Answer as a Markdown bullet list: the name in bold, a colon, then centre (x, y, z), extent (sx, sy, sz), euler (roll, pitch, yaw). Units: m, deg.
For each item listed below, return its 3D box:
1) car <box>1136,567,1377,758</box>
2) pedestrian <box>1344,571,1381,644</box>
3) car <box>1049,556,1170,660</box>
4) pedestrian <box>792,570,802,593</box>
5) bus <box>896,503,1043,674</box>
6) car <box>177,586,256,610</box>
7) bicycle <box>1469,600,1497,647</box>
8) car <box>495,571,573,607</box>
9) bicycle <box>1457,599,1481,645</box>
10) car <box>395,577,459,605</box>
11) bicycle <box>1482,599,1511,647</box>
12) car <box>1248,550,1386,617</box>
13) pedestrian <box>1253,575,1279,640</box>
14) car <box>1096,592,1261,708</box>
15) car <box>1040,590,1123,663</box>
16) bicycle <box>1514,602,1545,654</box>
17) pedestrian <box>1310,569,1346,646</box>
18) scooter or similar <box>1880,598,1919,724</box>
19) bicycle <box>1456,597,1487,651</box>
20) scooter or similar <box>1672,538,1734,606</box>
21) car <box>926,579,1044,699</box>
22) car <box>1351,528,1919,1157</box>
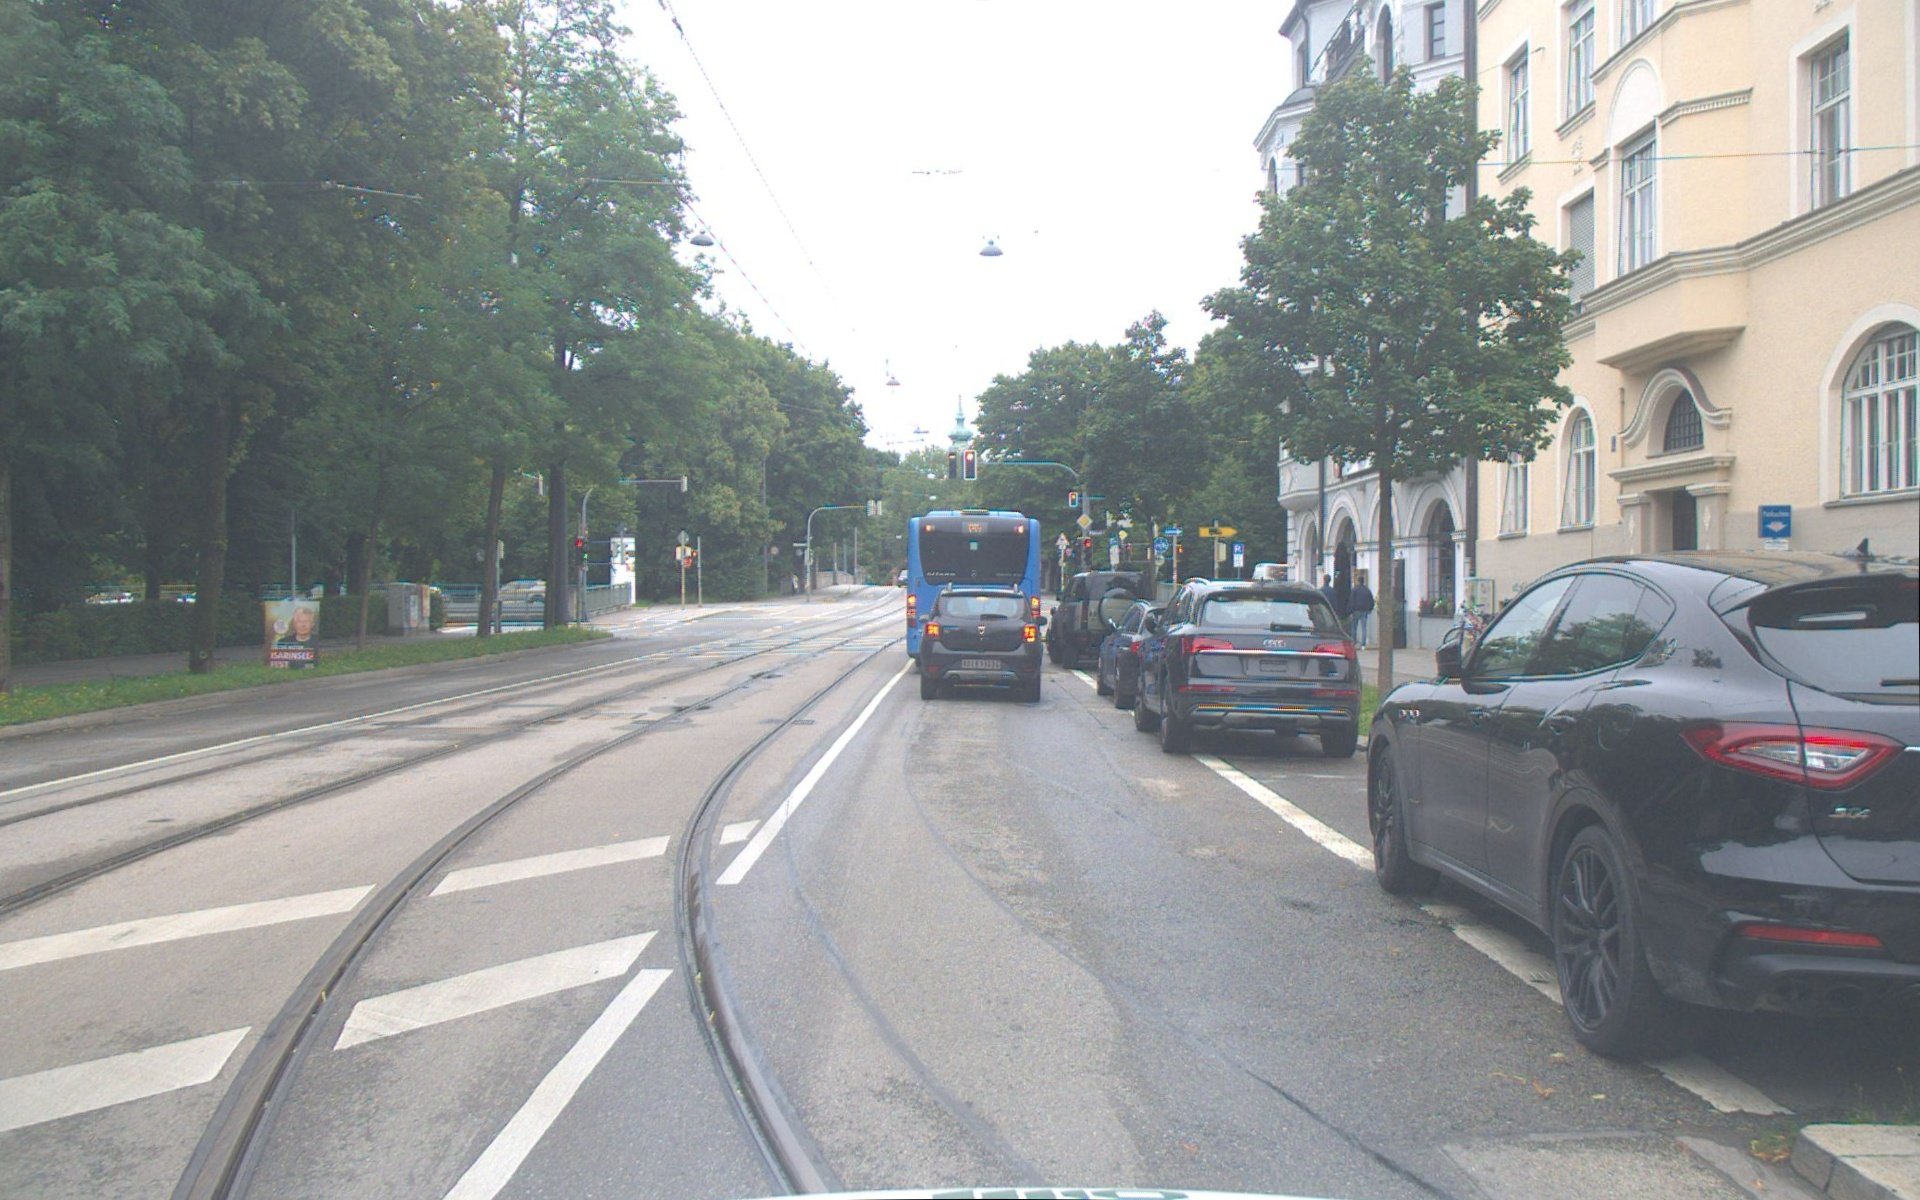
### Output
- **car**: centre (2.888, 0.553, 17.048), extent (1.738, 1.687, 4.488), euler (1, 0, 1)
- **pedestrian**: centre (9.872, 0.178, 40.609), extent (0.690, 1.762, 0.843), euler (1, 0, 0)
- **car**: centre (2.974, 0.143, 33.799), extent (1.875, 1.939, 4.806), euler (1, 0, -2)
- **pedestrian**: centre (-10.795, -1.199, 109.441), extent (0.520, 1.527, 0.588), euler (1, 0, 5)
- **bus**: centre (0.091, -0.221, 33.434), extent (2.624, 3.050, 6.959), euler (1, 0, -1)
- **car**: centre (-40.204, -0.100, 89.498), extent (3.655, 1.206, 1.249), euler (1, 0, -5)
- **bicycle**: centre (10.748, 0.480, 34.003), extent (0.284, 0.947, 0.886), euler (1, 0, 1)
- **car**: centre (-23.341, -0.590, 90.729), extent (3.945, 1.920, 1.488), euler (1, 0, -6)
- **bicycle**: centre (10.753, 0.462, 34.940), extent (0.254, 0.947, 0.886), euler (1, 0, 1)
- **car**: centre (-29.153, -0.495, 90.511), extent (3.049, 1.477, 1.249), euler (1, 0, -5)
- **bicycle**: centre (10.710, 0.452, 33.042), extent (0.299, 0.947, 0.886), euler (1, 0, 2)
- **car**: centre (14.818, -0.666, 68.759), extent (5.189, 2.658, 2.230), euler (1, 0, -3)
- **pedestrian**: centre (9.650, 0.236, 52.191), extent (0.659, 2.049, 0.716), euler (1, 0, 1)
- **car**: centre (2.968, 0.626, 23.314), extent (1.681, 1.451, 4.602), euler (1, 0, 0)
- **car**: centre (2.862, 0.591, 39.615), extent (1.679, 1.619, 4.327), euler (1, 0, 0)
- **bicycle**: centre (10.579, 0.508, 30.736), extent (0.279, 0.947, 0.886), euler (1, 0, 1)
- **pedestrian**: centre (9.043, 0.184, 40.665), extent (0.690, 1.848, 0.870), euler (1, 0, 0)
- **scooter or similar**: centre (10.338, 0.654, 17.786), extent (0.256, 1.335, 1.142), euler (1, 0, 1)
- **bicycle**: centre (10.328, 0.473, 33.416), extent (0.237, 1.057, 1.223), euler (1, 0, 0)
- **scooter or similar**: centre (10.747, -0.397, 23.922), extent (0.648, 0.963, 0.547), euler (1, 0, 2)
- **car**: centre (0.334, 0.519, 24.009), extent (1.568, 1.584, 3.525), euler (1, 0, 0)
- **car**: centre (3.034, 0.609, 6.649), extent (1.862, 1.638, 4.666), euler (1, 1, 1)
